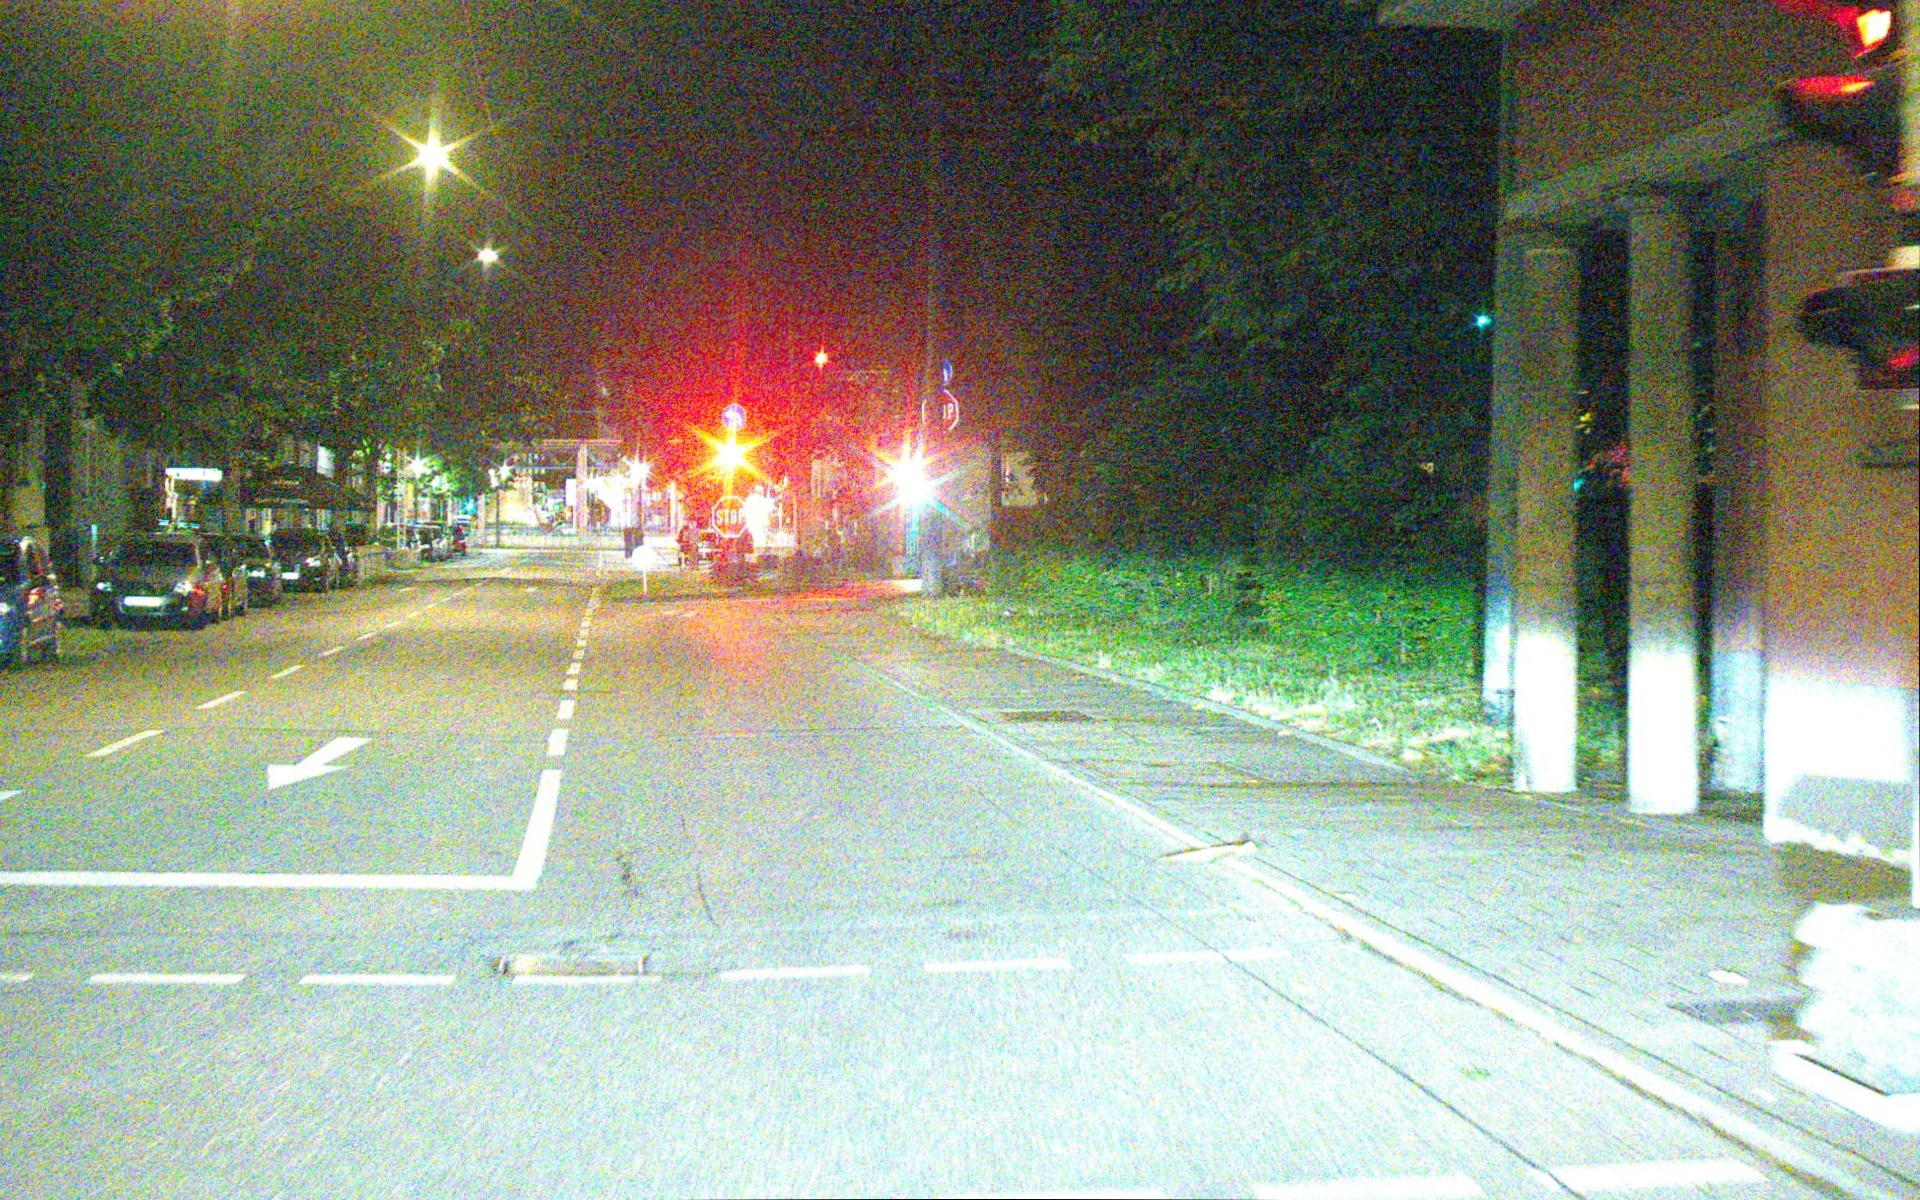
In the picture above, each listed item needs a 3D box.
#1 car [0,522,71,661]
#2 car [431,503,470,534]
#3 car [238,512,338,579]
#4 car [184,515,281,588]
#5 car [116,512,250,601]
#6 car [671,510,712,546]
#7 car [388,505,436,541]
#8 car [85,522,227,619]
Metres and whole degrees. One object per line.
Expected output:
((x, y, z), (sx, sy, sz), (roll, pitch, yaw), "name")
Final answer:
((-11.315, -0.140, 39.238), (1.713, 1.489, 3.991), (1, 2, -6), "car")
((-24.250, -3.876, 163.690), (1.651, 1.426, 4.001), (-1, 2, -6), "car")
((-15.950, -1.310, 81.804), (1.899, 1.466, 4.453), (1, 2, -6), "car")
((-14.511, -0.992, 68.721), (1.622, 1.378, 4.453), (-1, 1, -9), "car")
((-13.605, -0.799, 60.429), (1.767, 1.480, 4.865), (-1, 1, -7), "car")
((-10.994, -2.975, 140.881), (1.651, 1.426, 4.001), (-1, 2, -4), "car")
((-21.865, -3.086, 137.166), (1.651, 1.426, 4.001), (-1, 2, -6), "car")
((-12.914, -0.510, 55.454), (1.767, 1.480, 4.769), (-1, 1, -8), "car")
